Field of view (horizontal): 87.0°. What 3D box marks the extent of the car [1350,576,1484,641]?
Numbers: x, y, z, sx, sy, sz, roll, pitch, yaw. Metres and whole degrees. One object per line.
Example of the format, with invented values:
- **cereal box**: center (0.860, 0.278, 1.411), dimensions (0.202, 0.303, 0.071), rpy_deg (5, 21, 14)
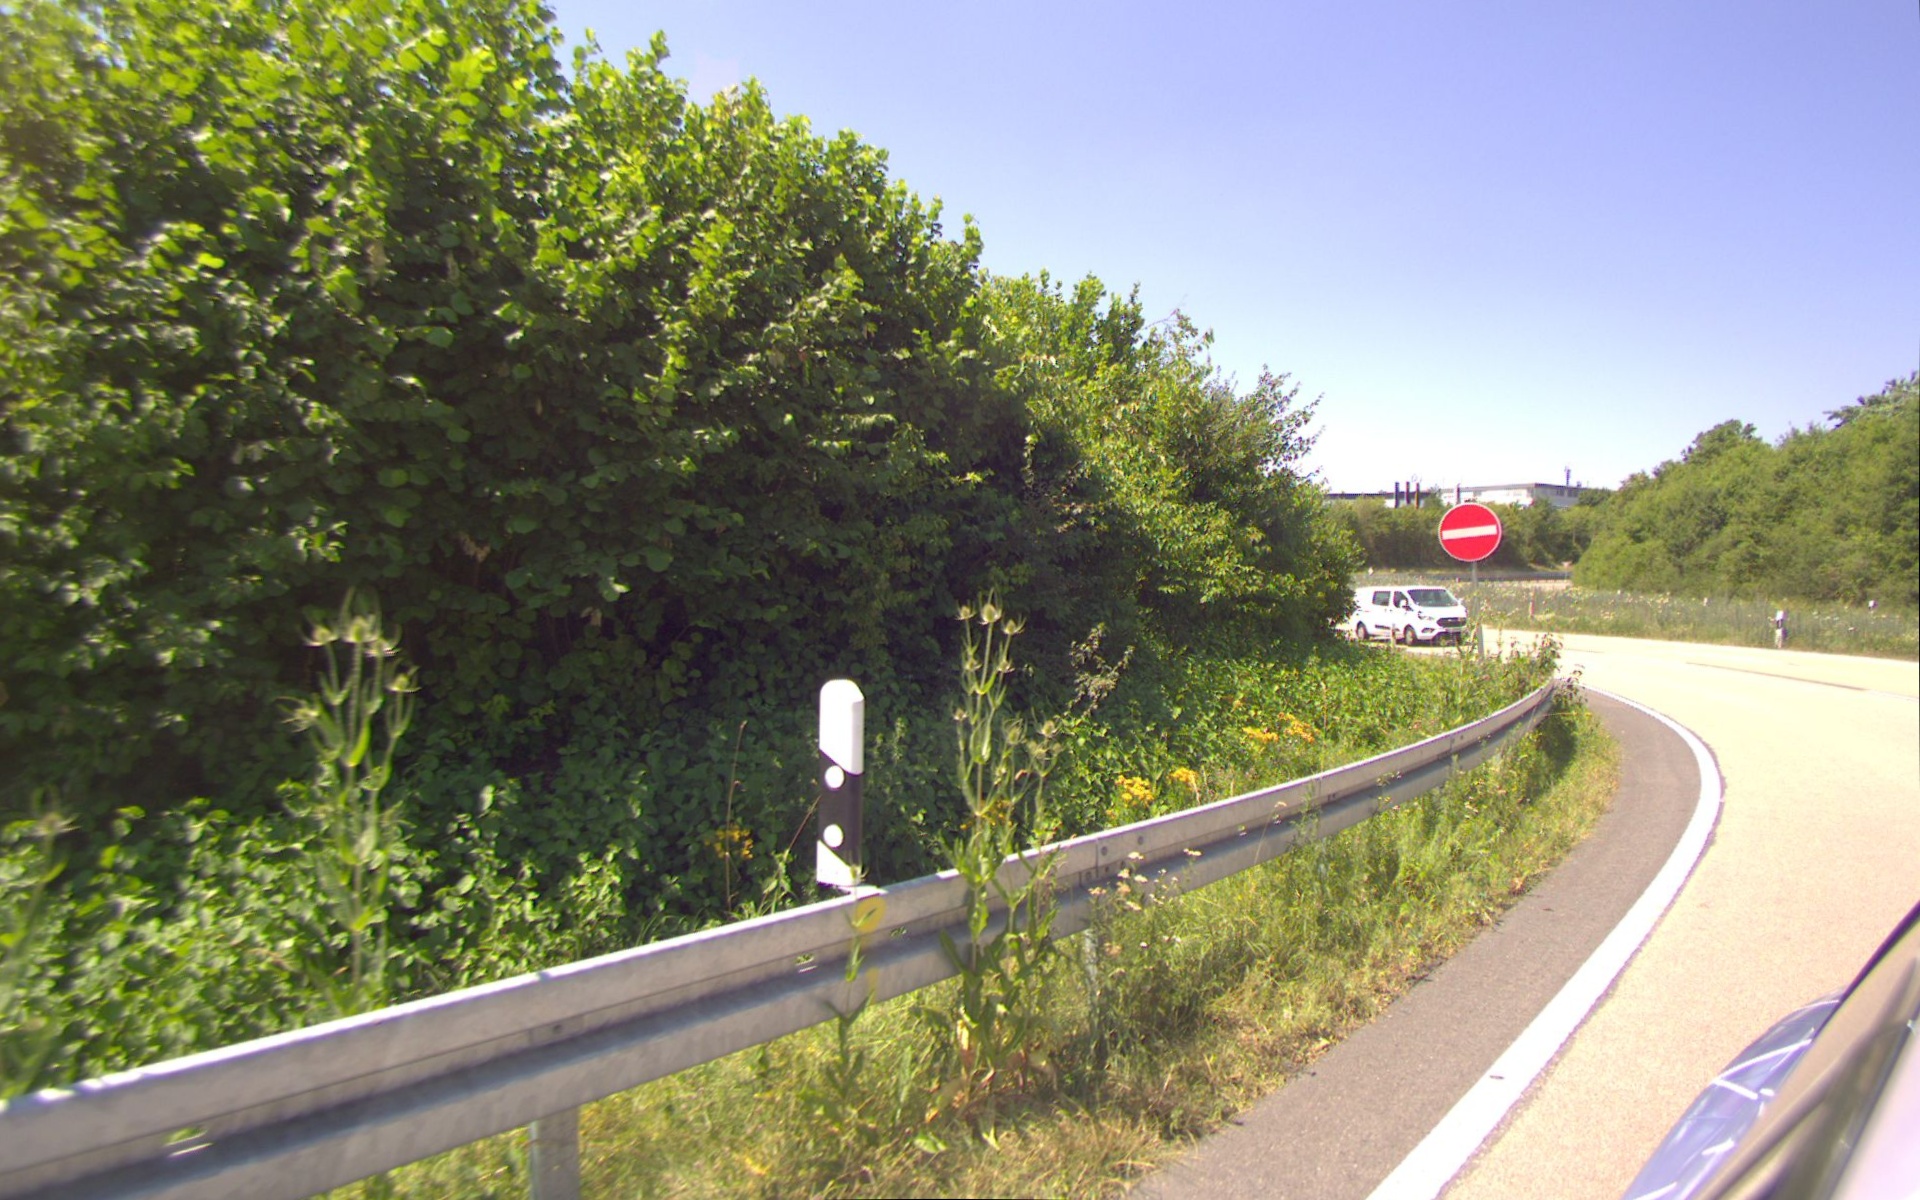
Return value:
- **car**: center (15.868, 0.251, 35.466), dimensions (2.023, 2.039, 5.046), rpy_deg (-3, 1, -4)
